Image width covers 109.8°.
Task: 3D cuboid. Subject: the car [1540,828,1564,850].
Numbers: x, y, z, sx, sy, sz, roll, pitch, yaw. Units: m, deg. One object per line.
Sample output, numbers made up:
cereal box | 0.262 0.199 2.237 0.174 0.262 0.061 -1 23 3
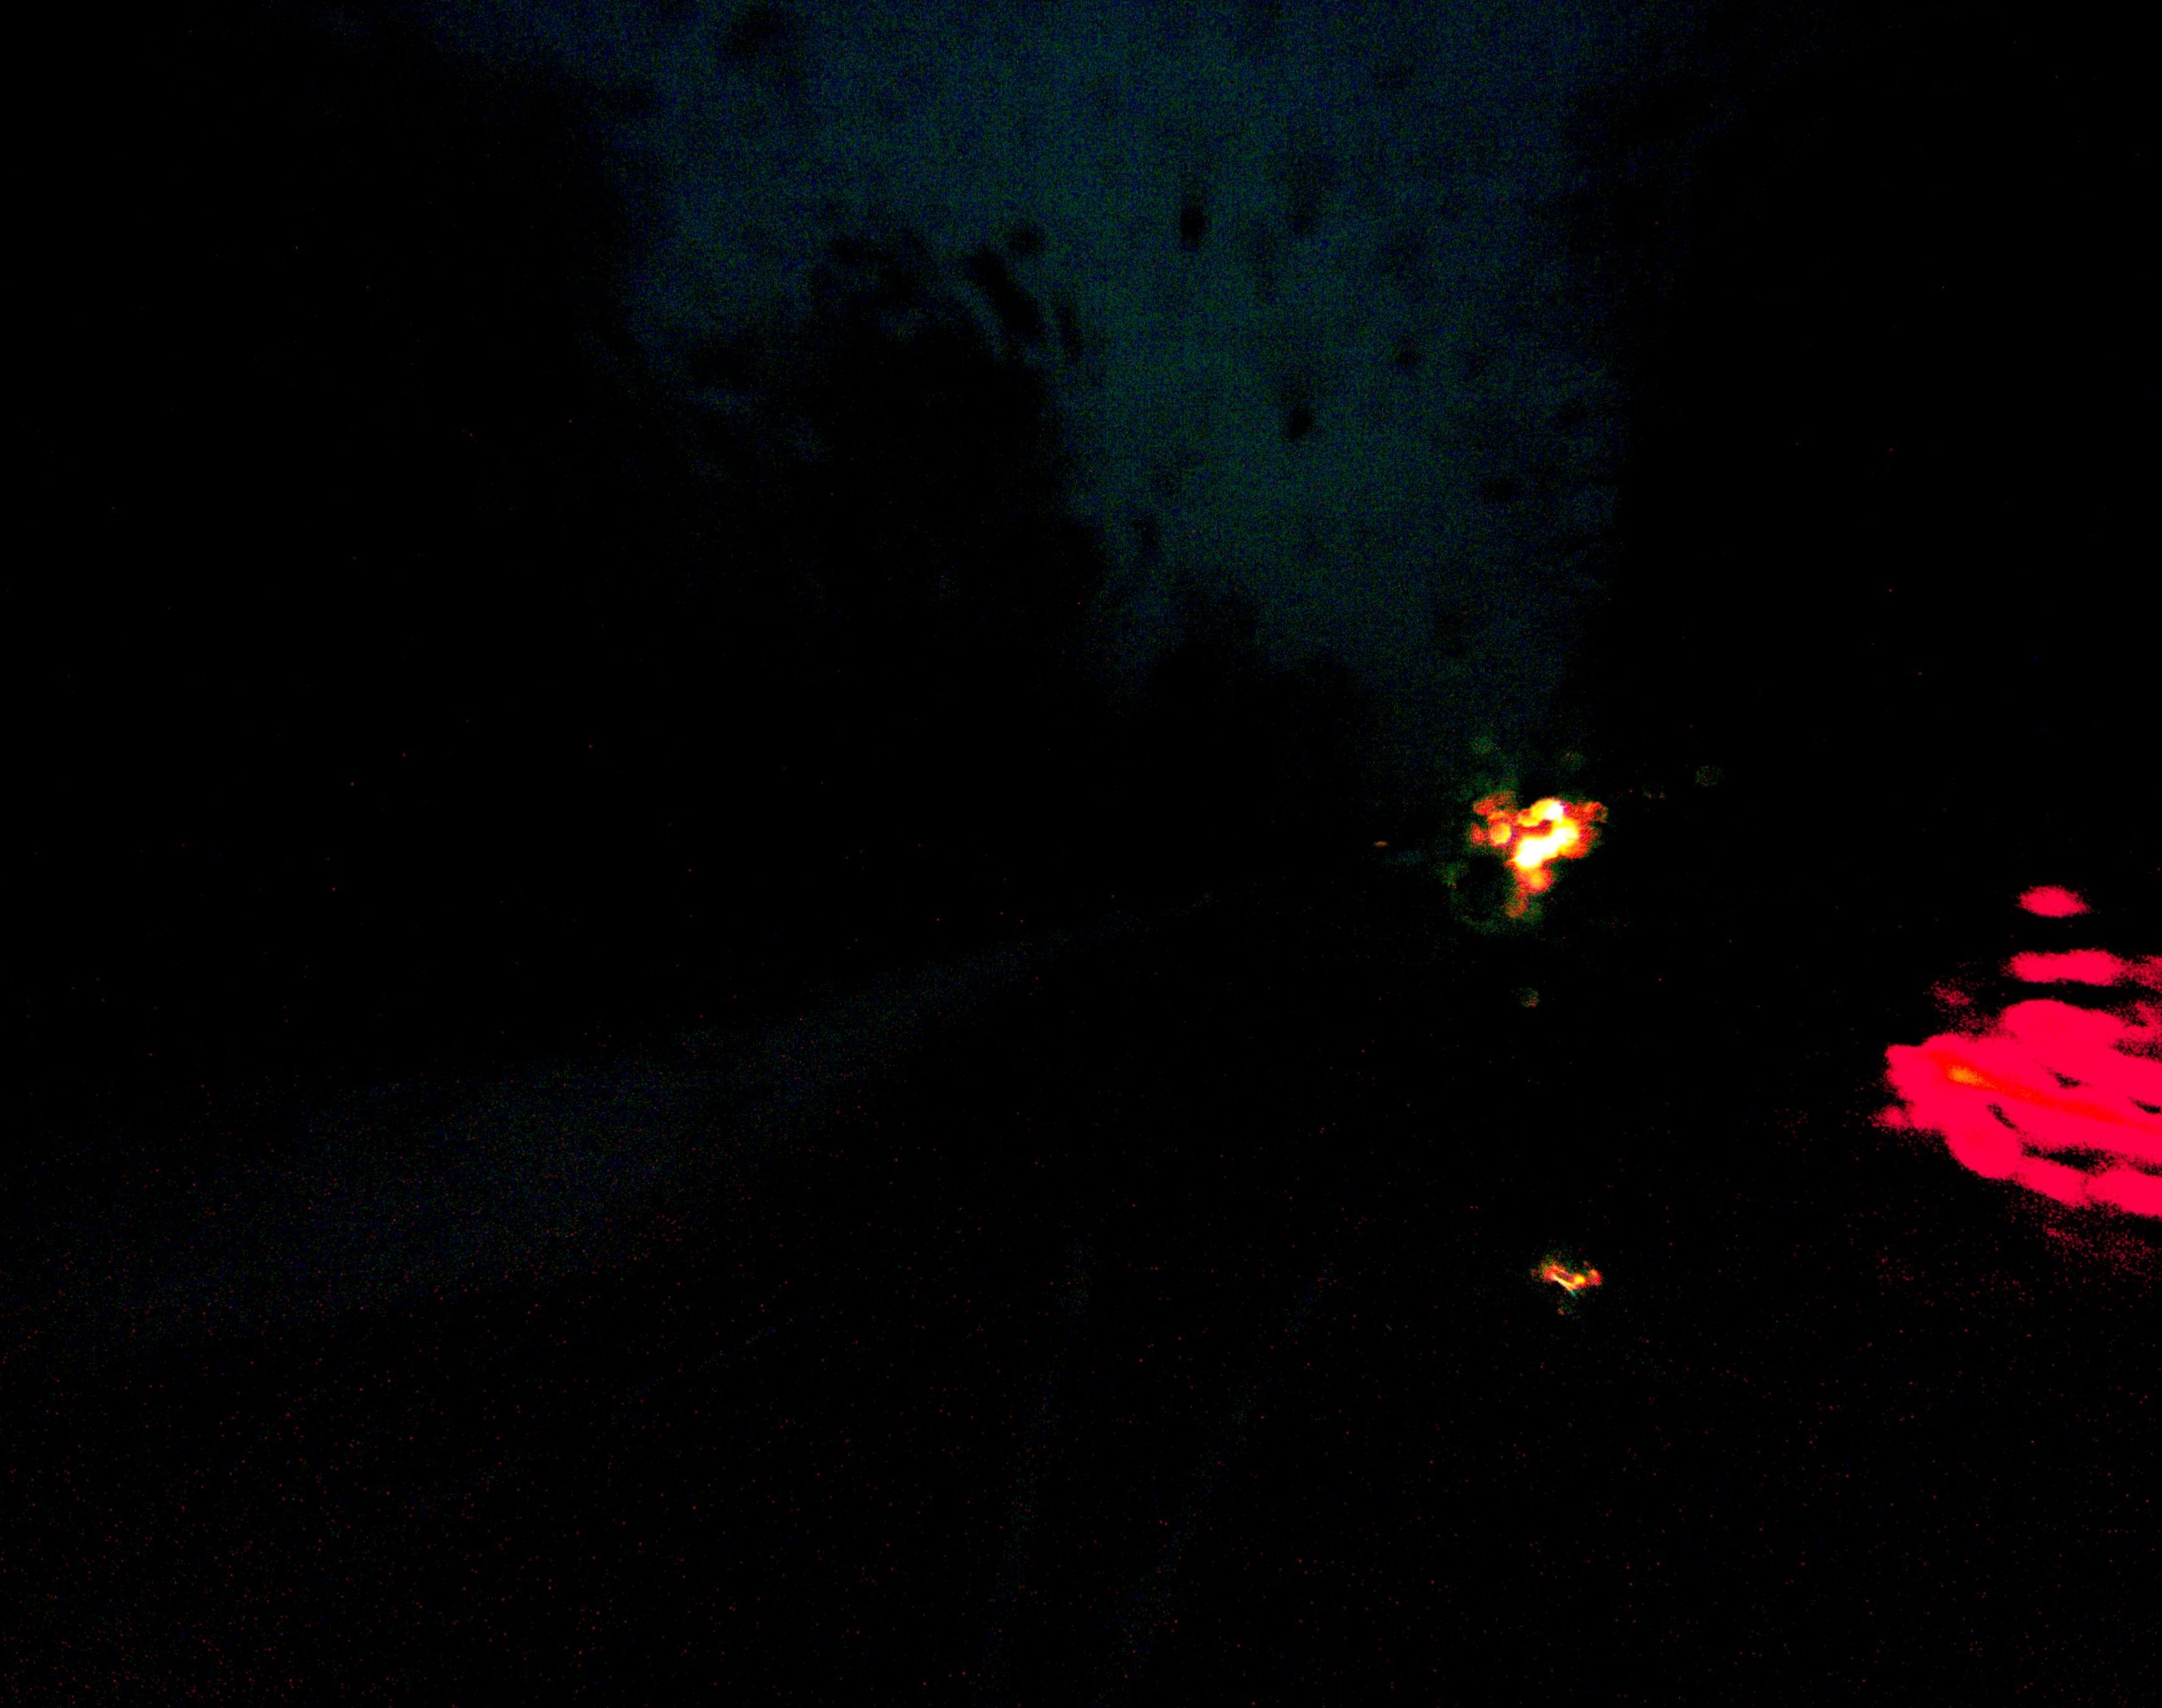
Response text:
car | 52.142 -1.707 84.048 1.996 2.001 4.006 -8 -1 33

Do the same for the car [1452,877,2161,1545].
car | 3.673 0.915 3.820 1.778 1.484 4.551 0 0 6
